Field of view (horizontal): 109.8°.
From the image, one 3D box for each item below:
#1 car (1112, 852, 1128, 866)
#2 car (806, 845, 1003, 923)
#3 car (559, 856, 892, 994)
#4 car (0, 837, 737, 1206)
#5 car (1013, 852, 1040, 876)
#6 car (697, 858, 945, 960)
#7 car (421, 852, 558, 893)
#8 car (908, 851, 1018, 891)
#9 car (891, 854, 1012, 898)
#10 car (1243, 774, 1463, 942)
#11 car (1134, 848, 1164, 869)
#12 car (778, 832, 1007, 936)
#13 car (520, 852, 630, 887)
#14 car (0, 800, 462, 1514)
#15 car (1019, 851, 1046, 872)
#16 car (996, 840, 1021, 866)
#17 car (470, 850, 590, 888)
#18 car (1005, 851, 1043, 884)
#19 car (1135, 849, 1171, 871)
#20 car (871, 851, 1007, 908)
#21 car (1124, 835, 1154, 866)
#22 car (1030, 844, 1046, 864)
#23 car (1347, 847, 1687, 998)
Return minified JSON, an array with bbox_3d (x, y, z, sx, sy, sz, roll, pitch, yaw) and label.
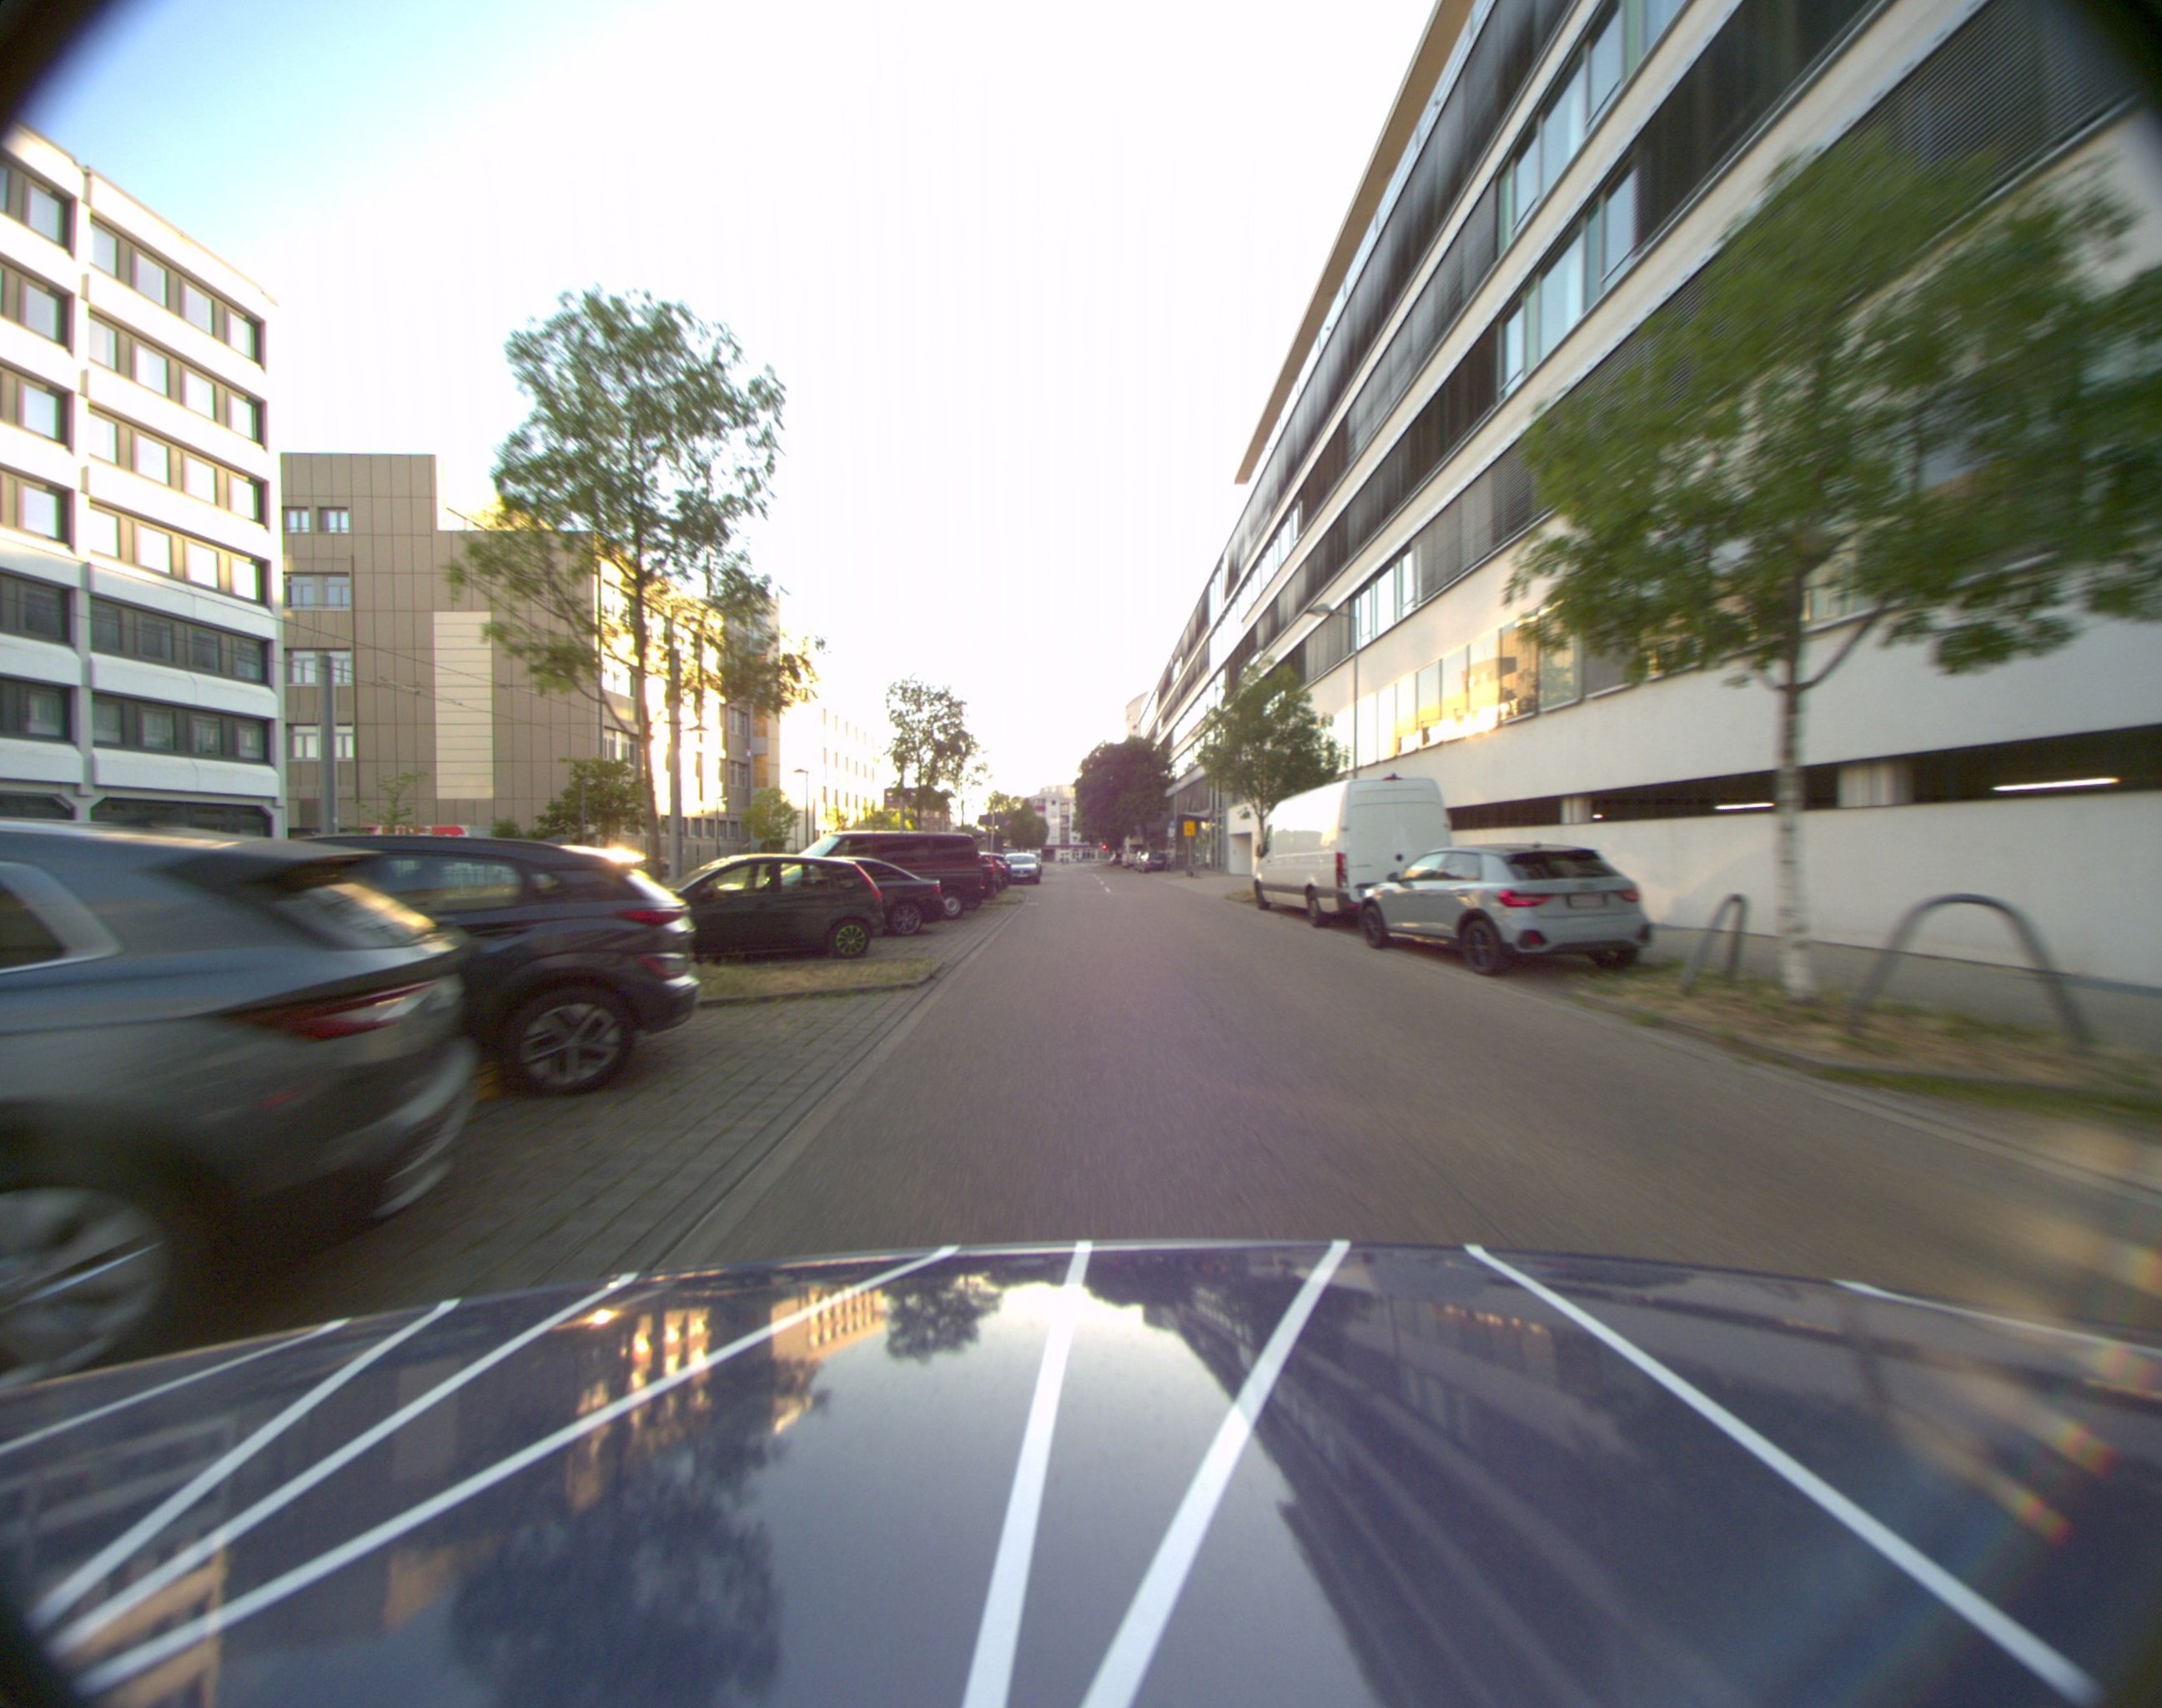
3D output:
[{"bbox_3d":[4.657,0.592,90.660,1.594,1.559,4.471,-3,0,-1],"label":"car"},{"bbox_3d":[-4.565,0.709,19.914,4.611,1.738,1.867,-2,0,-34],"label":"car"},{"bbox_3d":[-4.736,0.820,10.298,3.785,1.434,1.759,-2,0,-36],"label":"car"},{"bbox_3d":[-4.404,0.765,4.736,3.993,1.630,1.968,1,1,-28],"label":"car"},{"bbox_3d":[-3.515,0.617,49.775,1.681,1.443,4.186,-1,0,-3],"label":"car"},{"bbox_3d":[-4.523,0.865,13.434,3.785,1.456,1.635,-2,0,-36],"label":"car"},{"bbox_3d":[-23.707,0.740,30.549,3.998,1.504,1.824,1,0,-2],"label":"car"},{"bbox_3d":[-4.806,0.641,31.153,4.008,1.512,1.922,0,1,-35],"label":"car"},{"bbox_3d":[-4.707,0.752,27.883,4.008,1.456,1.732,-1,1,-38],"label":"car"},{"bbox_3d":[5.096,0.080,15.608,1.963,2.601,6.892,-2,0,0],"label":"car"},{"bbox_3d":[5.159,0.329,57.829,1.849,1.562,4.267,-1,0,0],"label":"car"},{"bbox_3d":[-4.180,0.579,17.200,4.611,2.023,1.867,-2,0,-34],"label":"car"},{"bbox_3d":[-23.748,0.725,35.754,3.997,1.478,1.675,2,0,0],"label":"car"},{"bbox_3d":[-4.130,0.780,1.892,3.785,1.715,1.759,-2,0,-33],"label":"car"},{"bbox_3d":[-3.503,0.562,55.059,1.792,1.443,4.514,-1,0,-3],"label":"car"},{"bbox_3d":[-6.396,-0.061,67.525,1.809,2.164,4.735,1,0,-1],"label":"car"},{"bbox_3d":[-23.963,0.636,33.150,3.997,1.478,1.675,2,0,0],"label":"car"},{"bbox_3d":[-2.841,0.623,37.419,1.736,1.457,3.997,-3,1,-5],"label":"car"},{"bbox_3d":[4.920,0.411,52.149,1.720,1.443,4.397,-1,0,-4],"label":"car"},{"bbox_3d":[-4.650,0.792,25.162,4.007,1.586,1.732,-3,1,-36],"label":"car"},{"bbox_3d":[5.127,-0.289,68.258,2.106,2.648,6.951,-1,0,0],"label":"car"},{"bbox_3d":[-5.890,0.009,104.791,2.056,2.641,5.433,3,0,-2],"label":"car"},{"bbox_3d":[5.074,0.694,9.569,1.761,1.431,3.900,-2,0,-5],"label":"car"}]
